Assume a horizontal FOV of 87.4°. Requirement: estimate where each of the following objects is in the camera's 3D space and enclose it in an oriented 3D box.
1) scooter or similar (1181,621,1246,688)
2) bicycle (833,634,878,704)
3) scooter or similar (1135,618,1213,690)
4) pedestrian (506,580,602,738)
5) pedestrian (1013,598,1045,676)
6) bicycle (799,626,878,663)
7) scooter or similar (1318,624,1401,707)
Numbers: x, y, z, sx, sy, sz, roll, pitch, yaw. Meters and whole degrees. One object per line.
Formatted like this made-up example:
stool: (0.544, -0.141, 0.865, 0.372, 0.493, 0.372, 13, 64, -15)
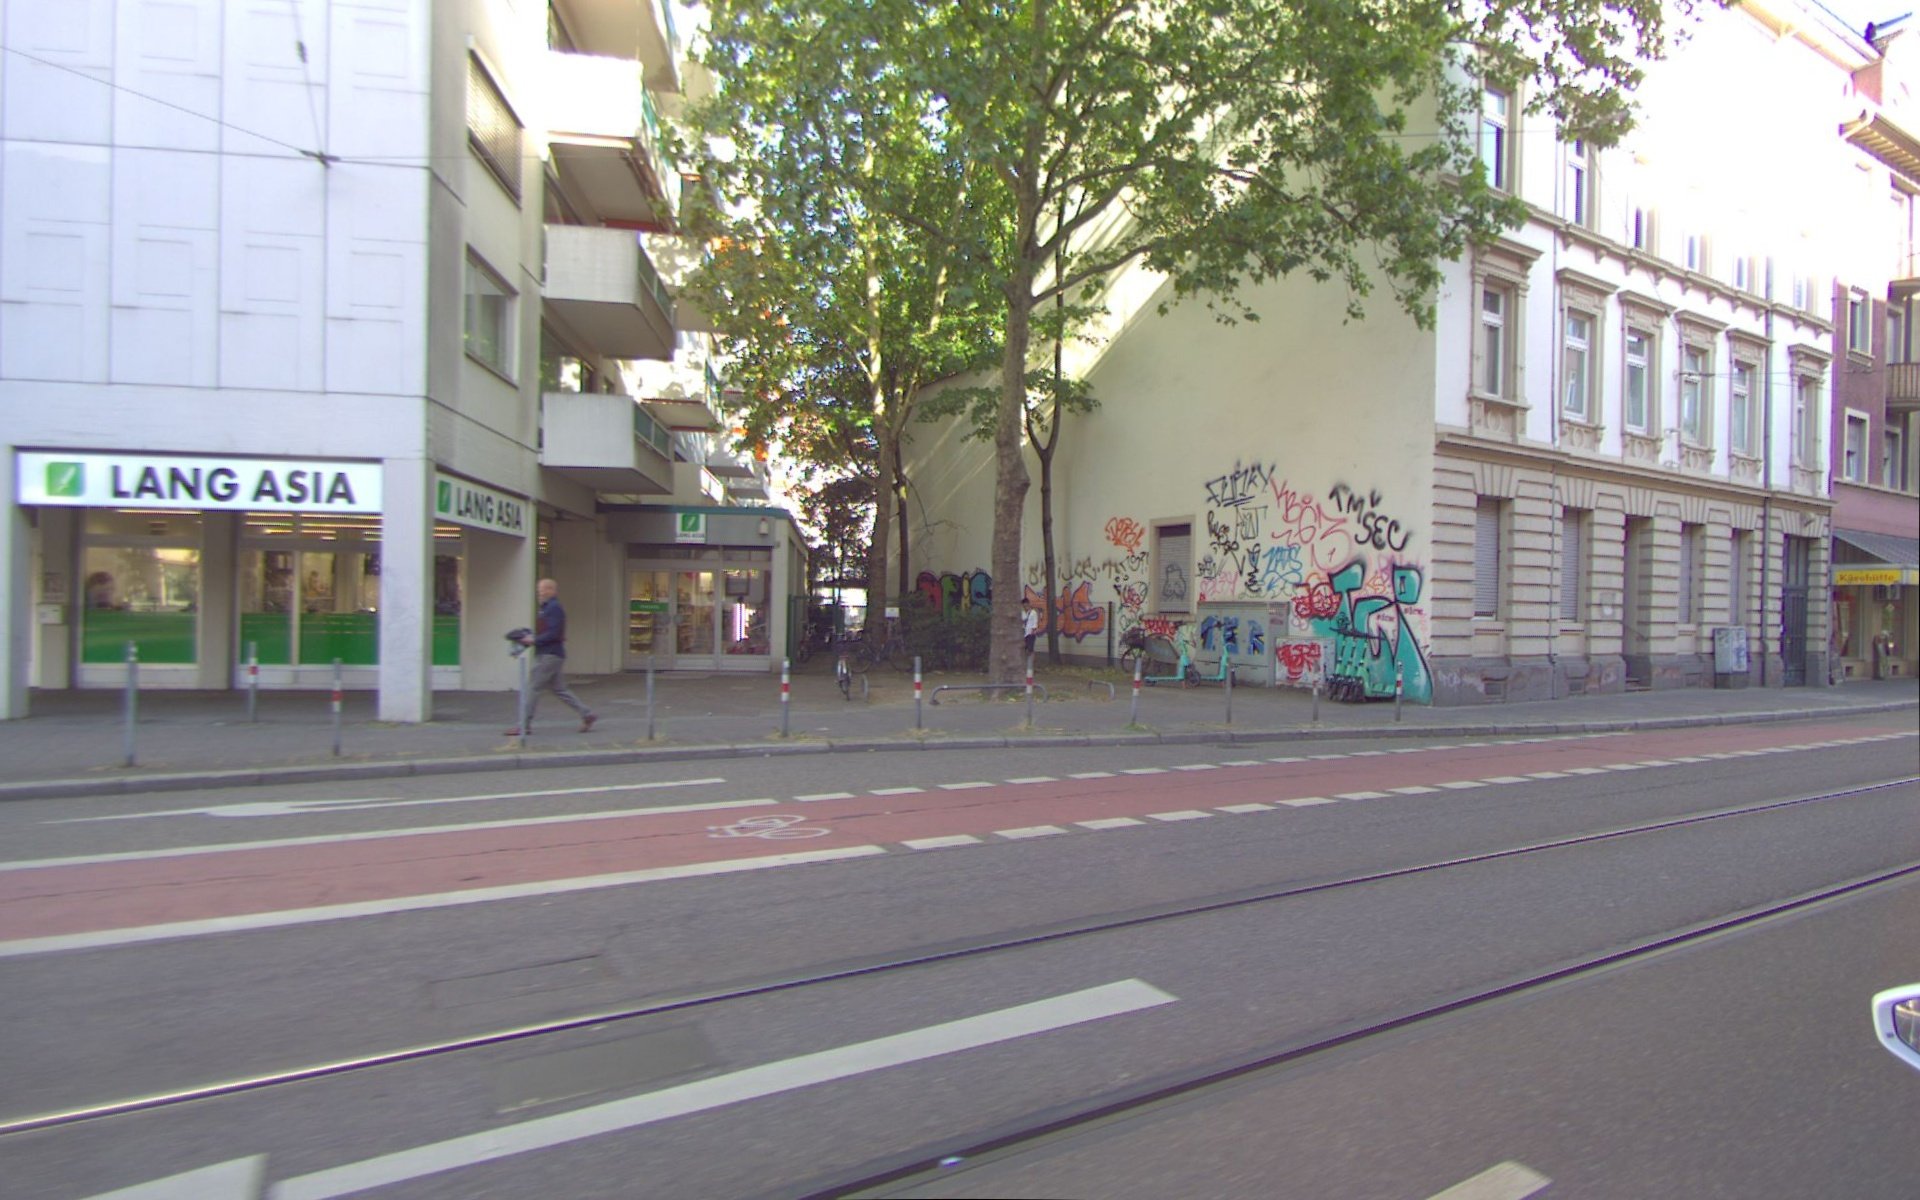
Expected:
scooter or similar: (4.844, 1.024, 19.200, 0.762, 1.238, 0.928, 1, -1, -42)
bicycle: (-1.711, 1.115, 16.659, 0.652, 1.048, 1.921, 1, -1, -4)
scooter or similar: (4.018, 0.995, 18.879, 0.762, 1.274, 1.217, 1, -1, -42)
pedestrian: (-4.752, 0.668, 11.814, 1.010, 1.789, 0.681, 0, 0, -20)
pedestrian: (1.554, 0.827, 22.716, 0.541, 1.741, 0.453, 1, -1, -31)
bicycle: (-3.142, 1.145, 25.985, 1.951, 0.925, 0.503, 1, -1, -17)
scooter or similar: (6.748, 1.078, 16.975, 1.062, 1.289, 0.784, -1, 3, -31)
